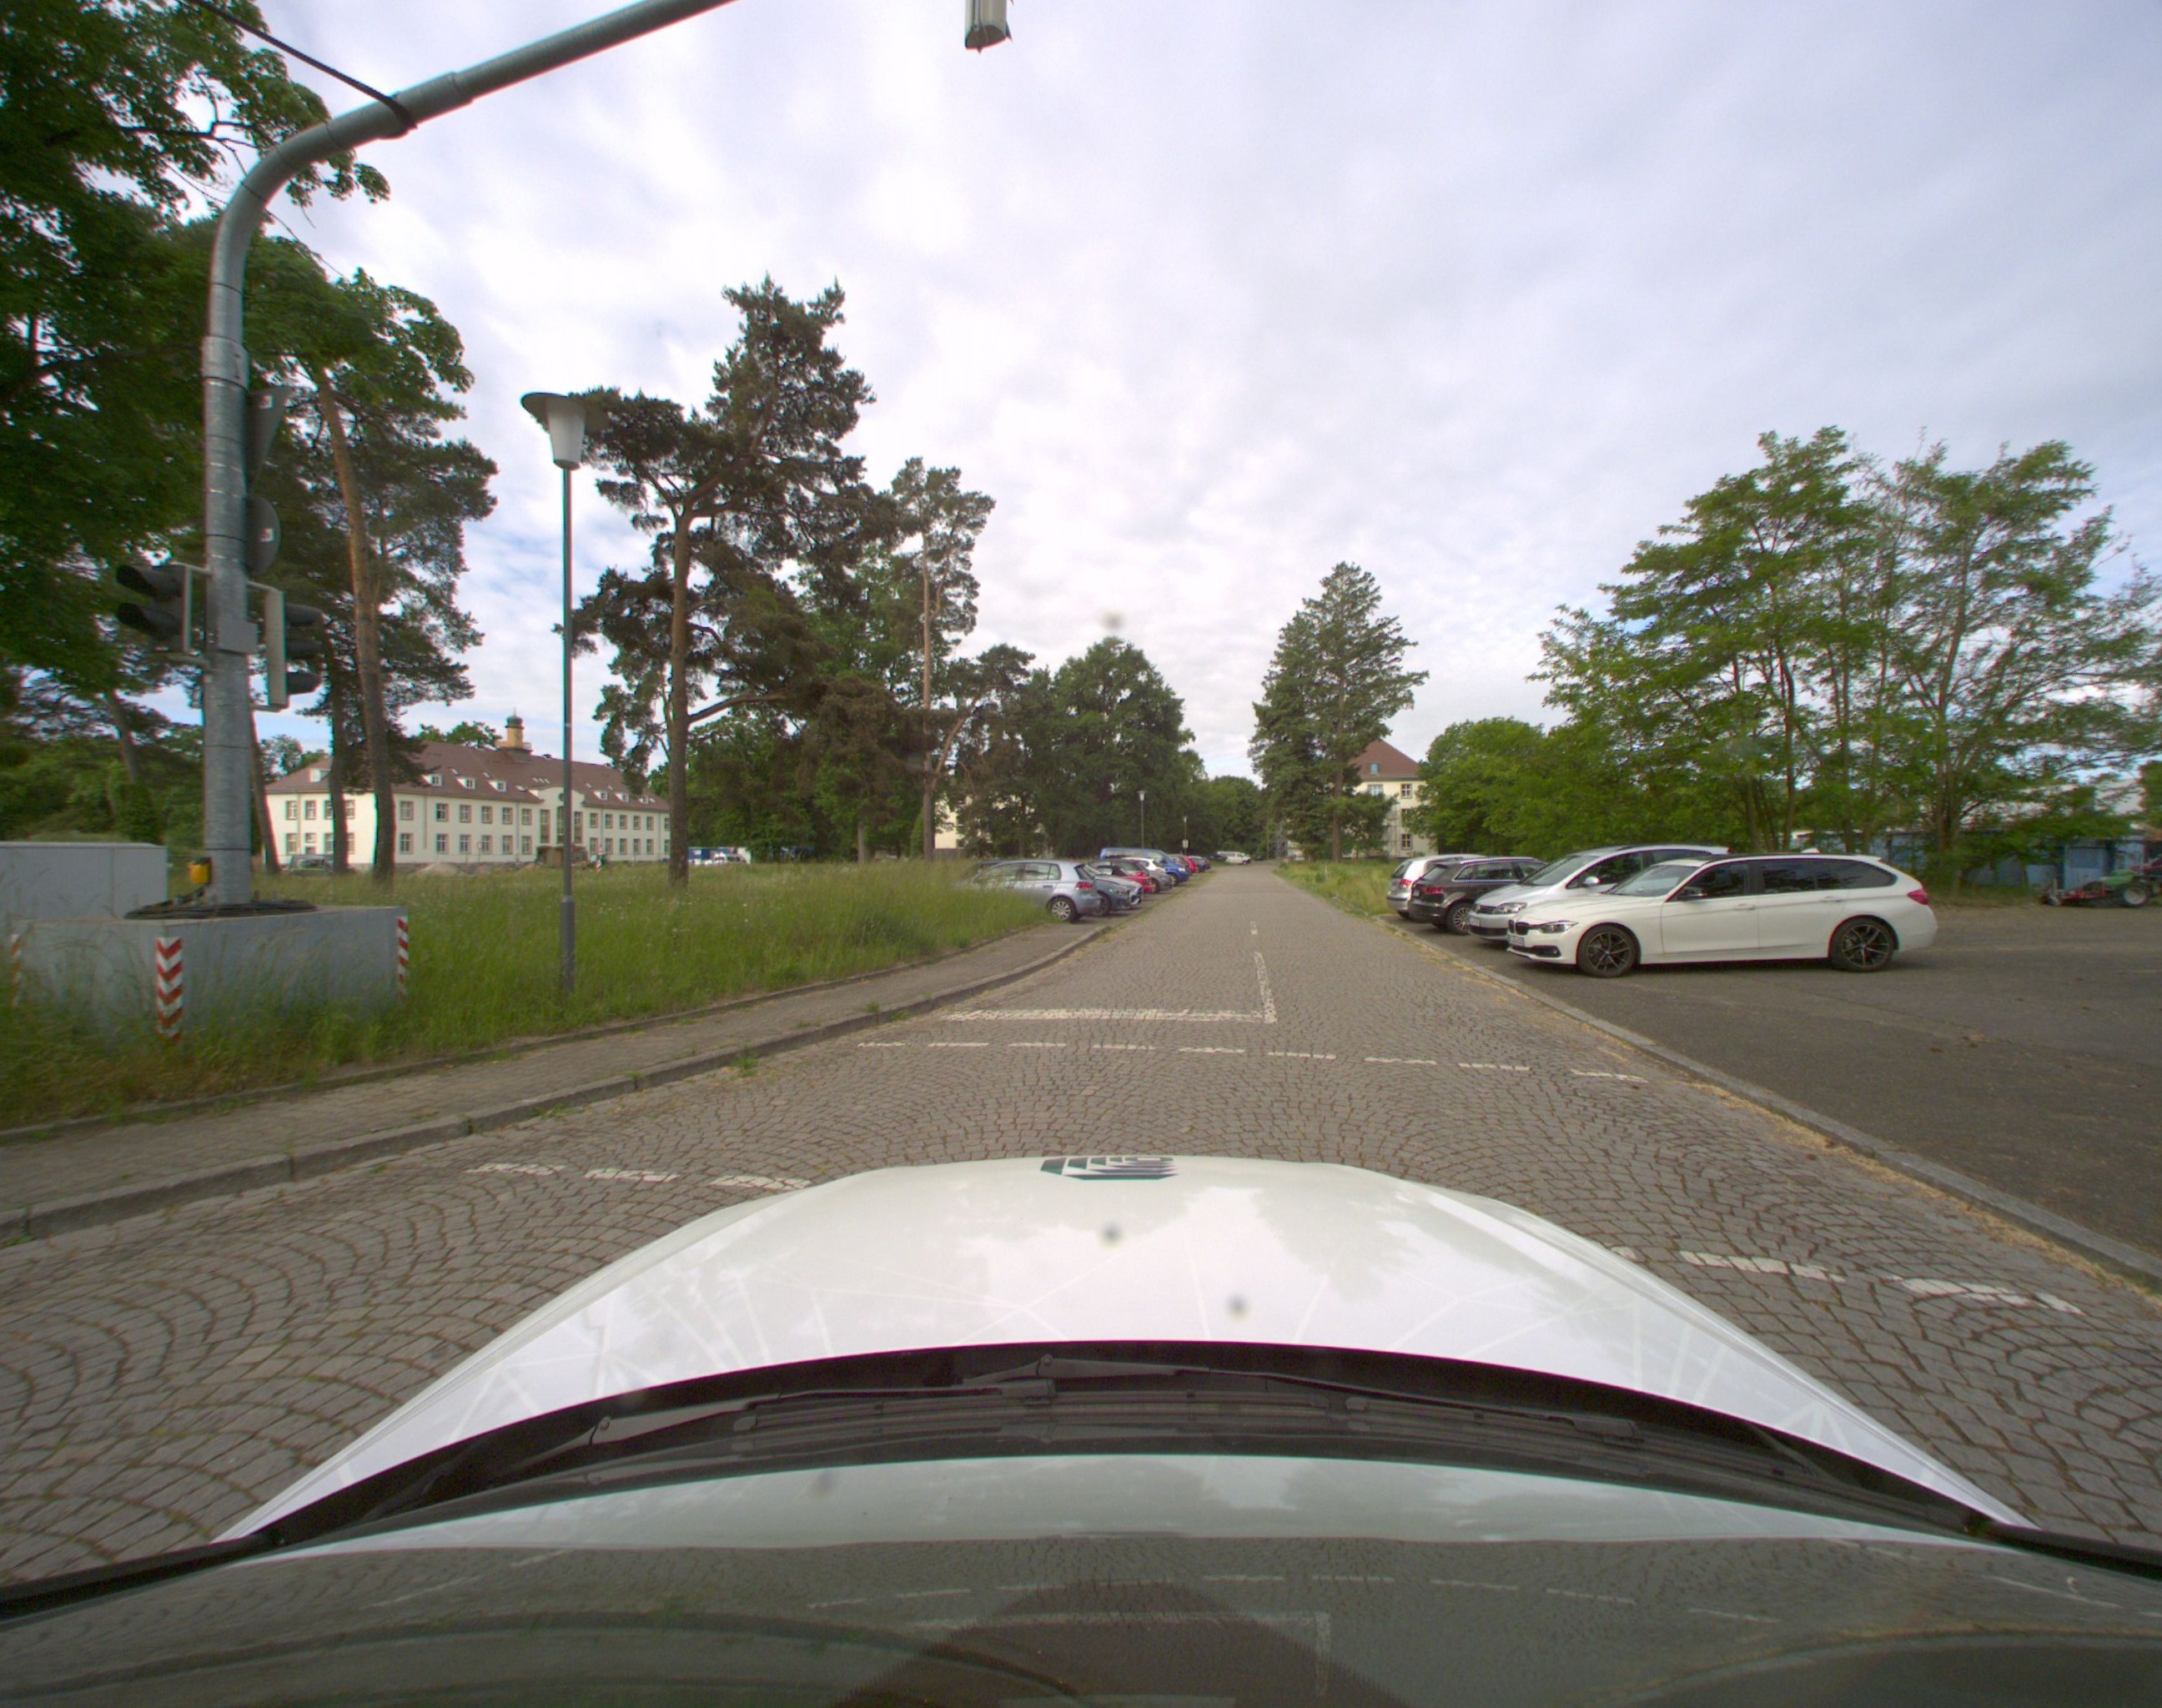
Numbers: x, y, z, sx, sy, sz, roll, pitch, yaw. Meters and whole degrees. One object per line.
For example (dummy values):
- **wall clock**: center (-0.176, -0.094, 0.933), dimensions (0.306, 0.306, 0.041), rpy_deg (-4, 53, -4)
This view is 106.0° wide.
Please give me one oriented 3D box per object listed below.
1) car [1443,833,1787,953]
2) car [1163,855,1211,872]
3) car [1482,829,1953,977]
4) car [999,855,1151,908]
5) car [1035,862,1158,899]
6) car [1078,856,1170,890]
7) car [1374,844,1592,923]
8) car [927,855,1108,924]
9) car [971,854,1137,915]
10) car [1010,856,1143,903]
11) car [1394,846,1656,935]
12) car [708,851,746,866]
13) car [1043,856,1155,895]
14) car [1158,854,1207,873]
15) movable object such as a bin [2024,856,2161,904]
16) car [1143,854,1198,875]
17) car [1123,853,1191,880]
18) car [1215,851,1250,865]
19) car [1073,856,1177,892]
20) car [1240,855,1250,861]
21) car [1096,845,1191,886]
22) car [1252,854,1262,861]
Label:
- **car**: center (8.405, 0.610, 13.196), dimensions (4.217, 1.596, 1.889), rpy_deg (-3, -1, 7)
- **car**: center (9.986, 0.879, 76.630), dimensions (4.274, 1.461, 1.981), rpy_deg (1, 0, 12)
- **car**: center (7.976, 0.613, 10.672), dimensions (4.467, 1.565, 1.910), rpy_deg (-3, -1, 8)
- **car**: center (-0.131, 0.813, 24.837), dimensions (4.348, 1.507, 1.940), rpy_deg (0, 0, 8)
- **car**: center (0.595, 0.941, 29.465), dimensions (4.138, 1.266, 1.837), rpy_deg (0, 0, 12)
- **car**: center (2.028, 0.863, 37.793), dimensions (4.041, 1.497, 1.851), rpy_deg (0, 0, 11)
- **car**: center (9.031, 0.654, 18.615), dimensions (4.050, 1.515, 1.808), rpy_deg (-3, -1, 8)
- **car**: center (-1.451, 0.804, 19.496), dimensions (3.963, 1.543, 1.910), rpy_deg (0, 0, 9)
- **car**: center (-0.672, 0.801, 22.138), dimensions (4.227, 1.548, 1.940), rpy_deg (0, 0, 7)
- **car**: center (-0.096, 0.829, 27.173), dimensions (4.140, 1.476, 1.870), rpy_deg (0, 0, 10)
- **car**: center (8.505, 0.690, 15.949), dimensions (4.050, 1.453, 1.890), rpy_deg (-3, -1, 8)
- **car**: center (-47.734, 0.622, 109.881), dimensions (1.979, 2.014, 5.249), rpy_deg (-1, -1, 14)
- **car**: center (0.745, 0.837, 32.147), dimensions (4.139, 1.482, 1.851), rpy_deg (0, 0, 11)
- **car**: center (8.978, 0.826, 72.019), dimensions (4.203, 1.577, 1.892), rpy_deg (1, 0, 9)
- **movable object such as a bin**: center (21.950, 0.537, 17.257), dimensions (2.667, 0.988, 0.855), rpy_deg (0, 0, 8)
- **car**: center (6.797, 0.780, 61.950), dimensions (4.031, 1.525, 1.910), rpy_deg (0, 0, 9)
- **car**: center (4.866, 0.787, 51.728), dimensions (4.142, 1.622, 1.991), rpy_deg (0, 0, 8)
- **car**: center (23.098, 0.597, 124.004), dimensions (5.204, 2.168, 2.005), rpy_deg (0, 0, 8)
- **car**: center (1.906, 0.841, 34.832), dimensions (4.138, 1.491, 1.871), rpy_deg (0, 0, 12)
- **car**: center (38.033, 0.916, 188.557), dimensions (2.106, 1.522, 4.011), rpy_deg (0, 0, 10)
- **car**: center (3.338, 0.604, 42.951), dimensions (4.752, 2.122, 2.121), rpy_deg (0, 0, 10)
- **car**: center (40.706, 0.888, 188.363), dimensions (1.939, 1.522, 4.011), rpy_deg (0, 0, 9)
